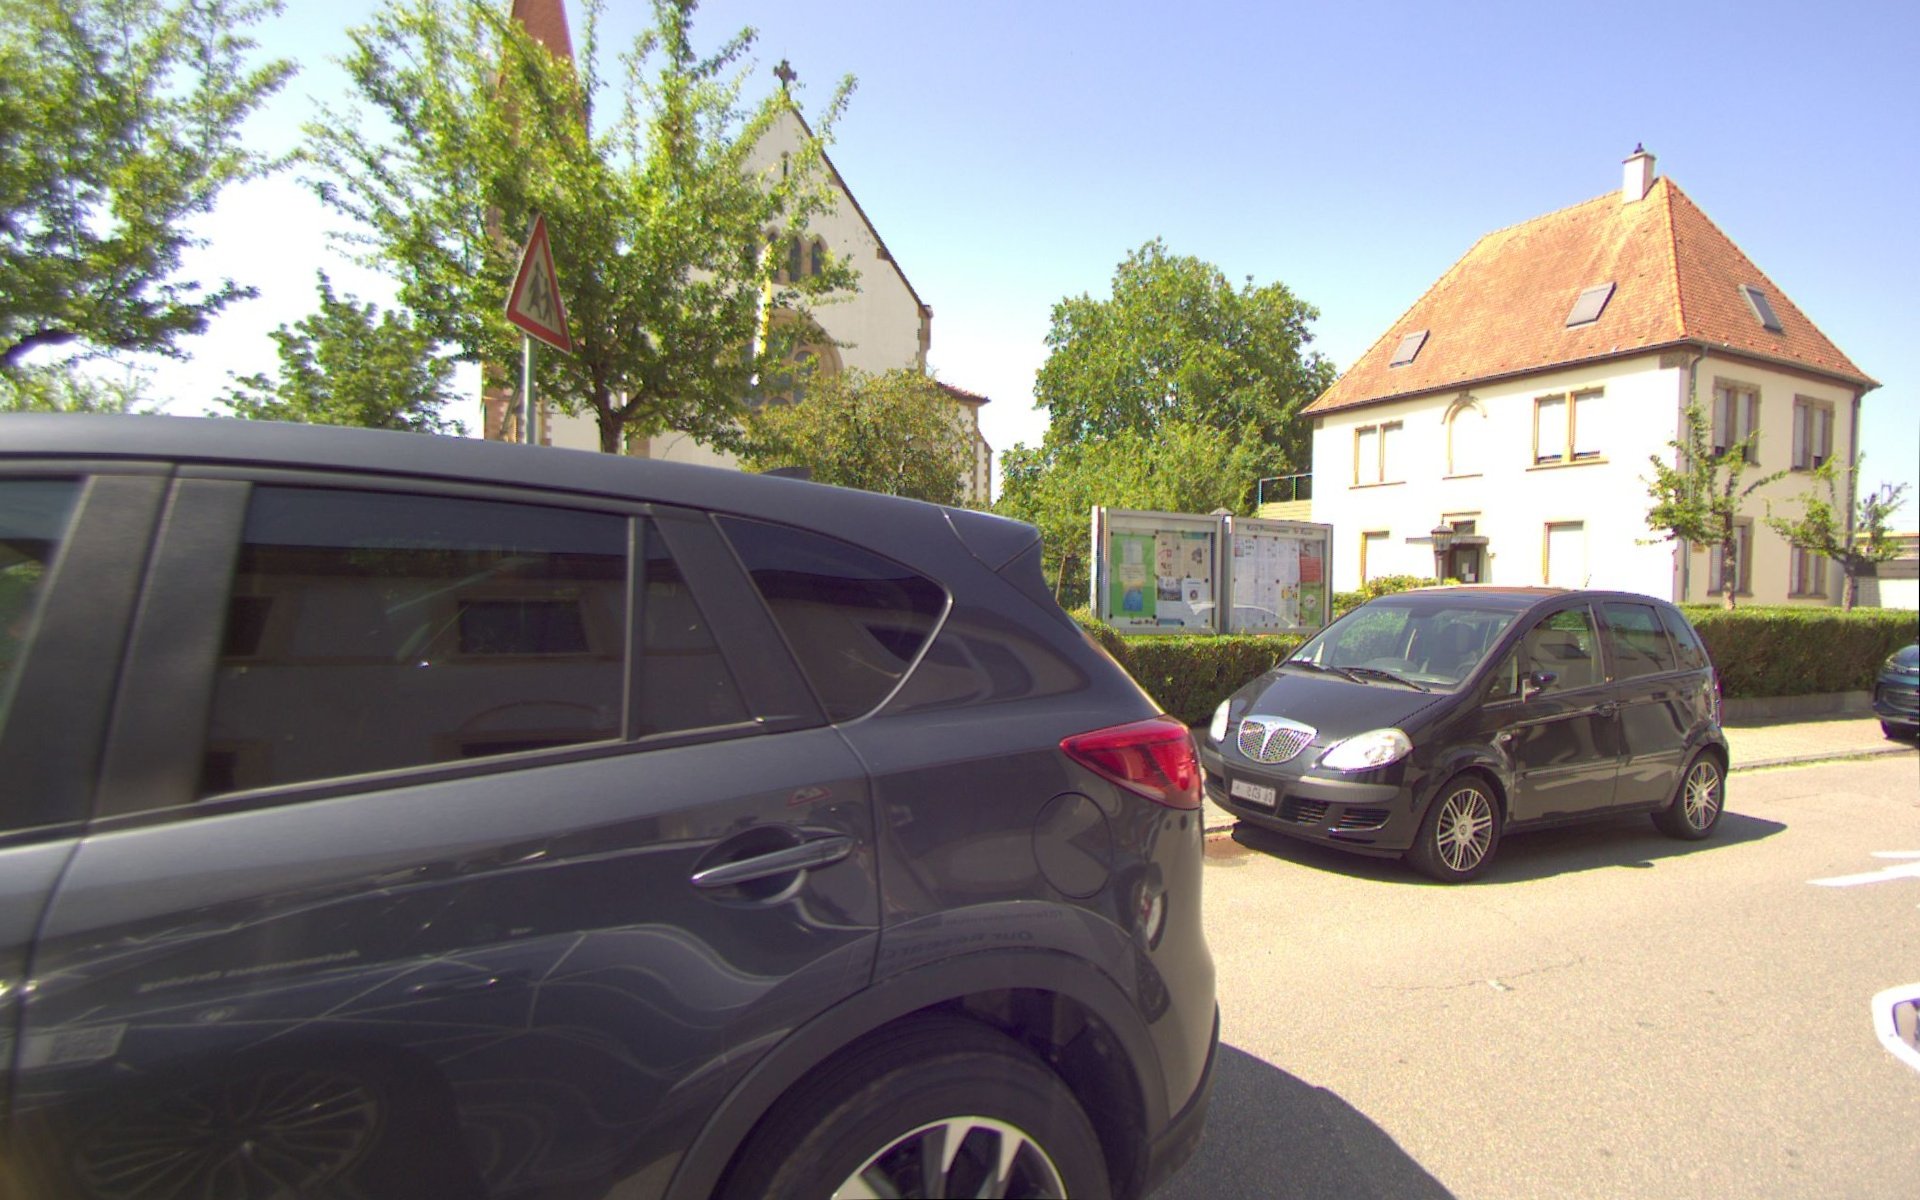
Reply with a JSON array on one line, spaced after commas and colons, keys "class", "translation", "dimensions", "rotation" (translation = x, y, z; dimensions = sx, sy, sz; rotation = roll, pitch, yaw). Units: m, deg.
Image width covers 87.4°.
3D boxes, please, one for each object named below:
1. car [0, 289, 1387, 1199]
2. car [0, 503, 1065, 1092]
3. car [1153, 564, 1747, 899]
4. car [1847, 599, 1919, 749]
[{"class": "car", "translation": [-1.456, 0.534, 1.747], "dimensions": [4.101, 1.690, 1.874], "rotation": [1, 1, -28]}, {"class": "car", "translation": [-1.725, 0.555, 4.244], "dimensions": [3.972, 1.626, 1.809], "rotation": [1, 1, -27]}, {"class": "car", "translation": [3.250, 0.653, 6.561], "dimensions": [3.721, 1.650, 1.631], "rotation": [1, 1, -29]}, {"class": "car", "translation": [12.629, 0.858, 11.878], "dimensions": [4.163, 1.652, 1.819], "rotation": [1, 1, -27]}]
